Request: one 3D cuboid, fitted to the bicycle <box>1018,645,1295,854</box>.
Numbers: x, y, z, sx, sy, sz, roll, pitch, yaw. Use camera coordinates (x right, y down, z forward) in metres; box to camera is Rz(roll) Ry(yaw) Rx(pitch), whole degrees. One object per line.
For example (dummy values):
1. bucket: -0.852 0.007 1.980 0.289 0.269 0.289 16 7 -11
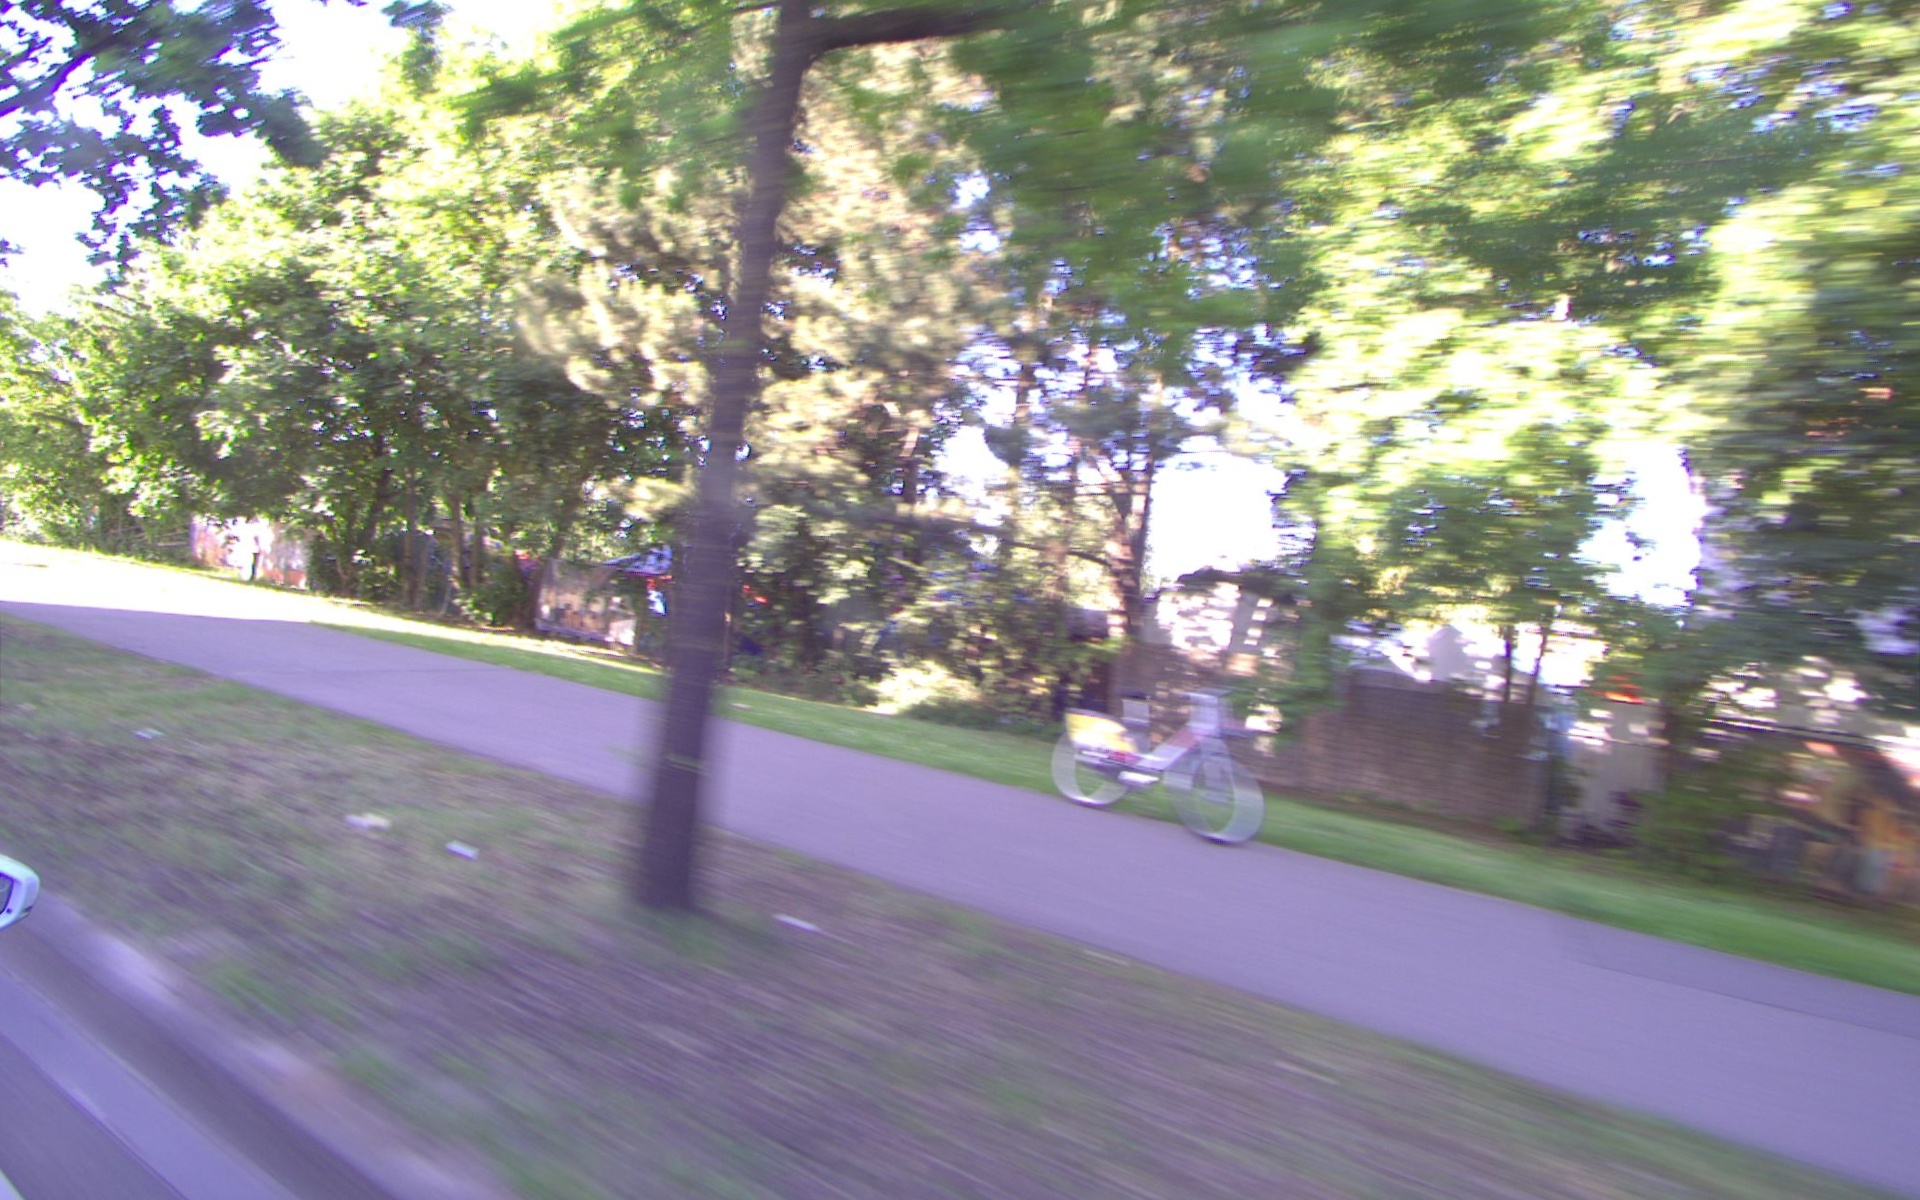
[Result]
1. bicycle: 1.386 1.015 7.254 1.683 1.144 0.773 7 0 39
